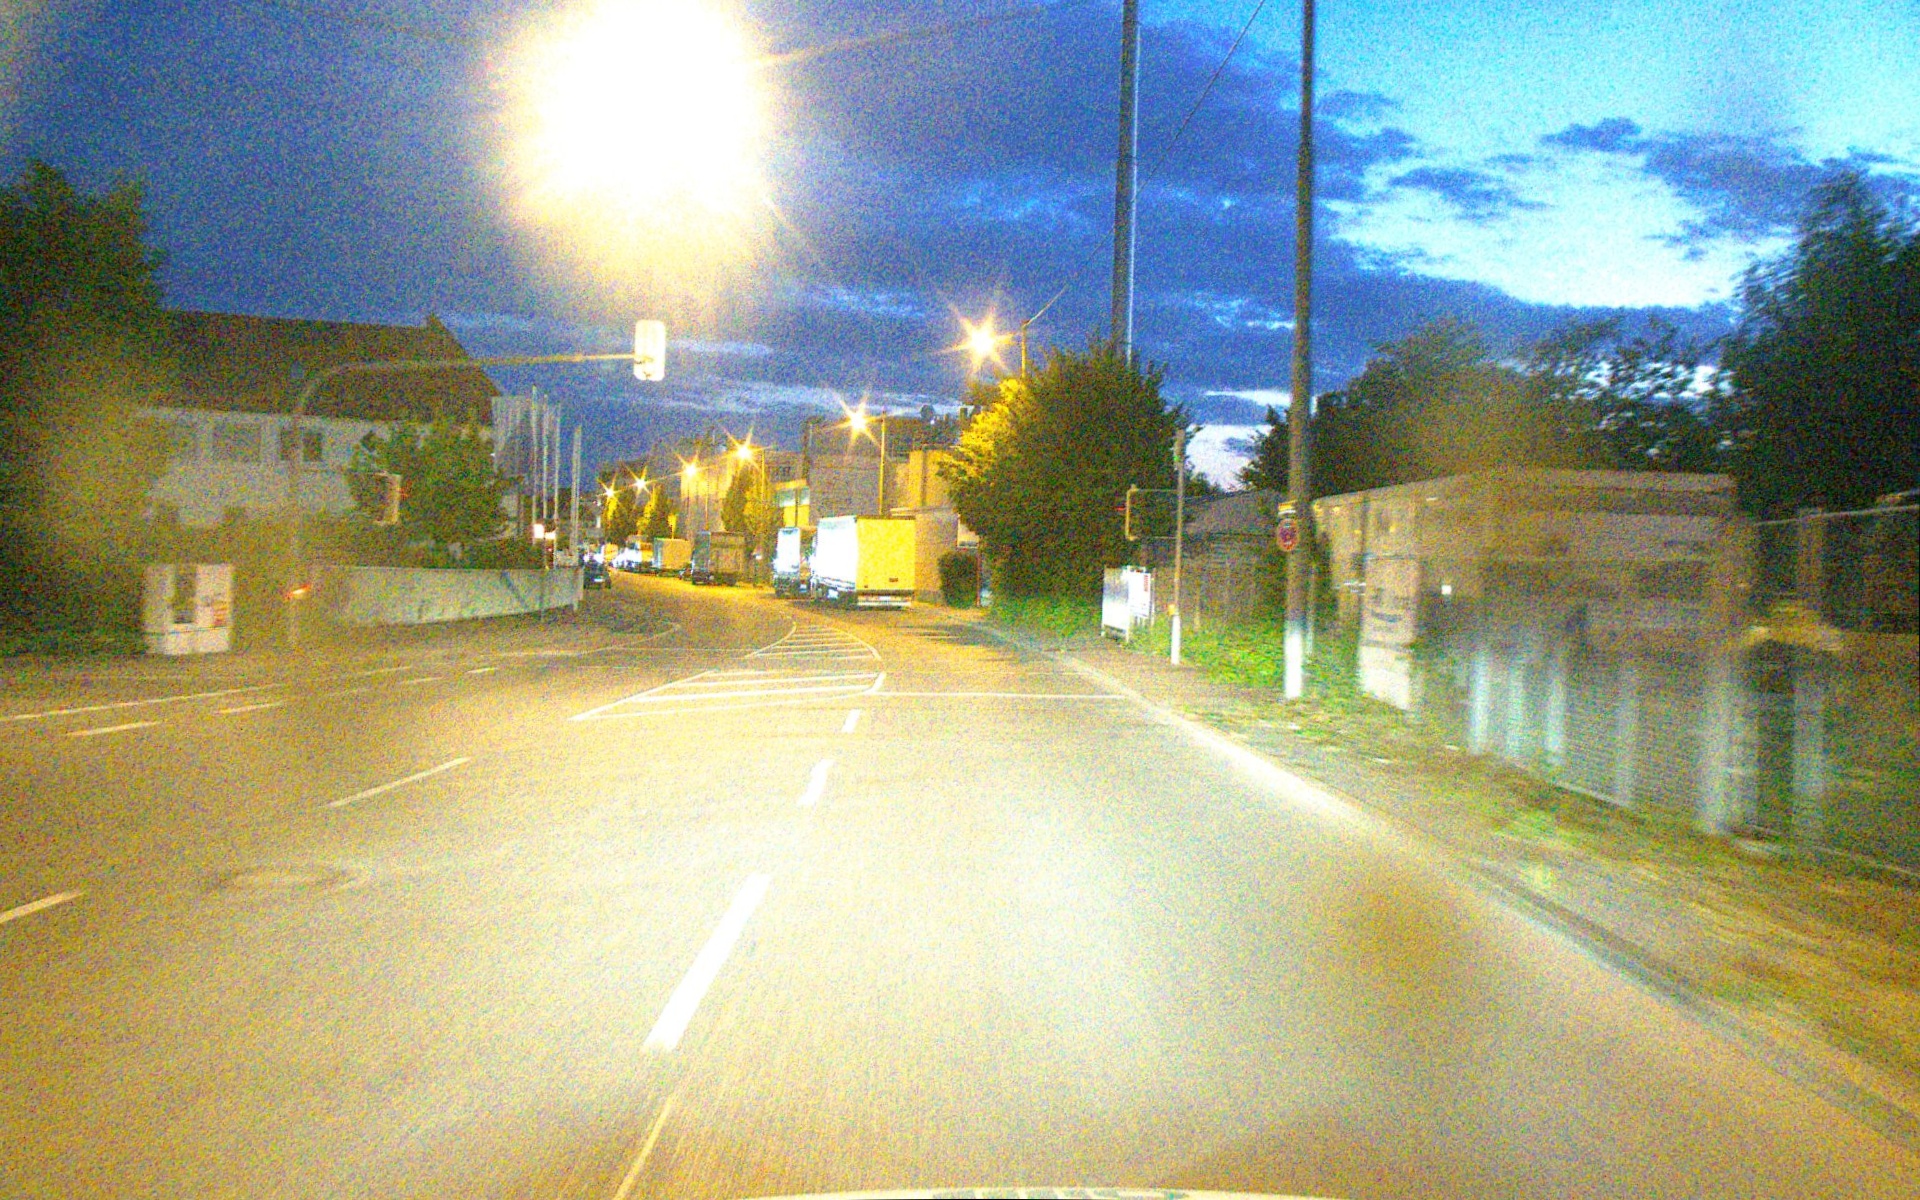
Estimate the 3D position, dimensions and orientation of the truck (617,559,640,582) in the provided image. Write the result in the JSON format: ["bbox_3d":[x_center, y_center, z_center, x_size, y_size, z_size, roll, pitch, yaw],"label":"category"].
[{"bbox_3d":[-37.341,-3.346,186.091,1.962,2.449,5.268,2,1,-17],"label":"truck"}]

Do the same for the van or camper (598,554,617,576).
[{"bbox_3d":[-44.031,-4.375,206.687,1.961,2.626,4.893,2,1,-16],"label":"van or camper"}]

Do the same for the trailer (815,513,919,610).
[{"bbox_3d":[-4.474,-1.721,76.143,2.759,4.052,13.934,0,1,-12],"label":"trailer"}]

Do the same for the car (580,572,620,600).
[{"bbox_3d":[-22.807,-0.882,104.671,1.963,1.665,4.749,2,0,-18],"label":"car"}]

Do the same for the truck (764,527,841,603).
[{"bbox_3d":[-8.958,-1.928,93.063,2.782,4.052,10.304,0,1,-14],"label":"truck"}]

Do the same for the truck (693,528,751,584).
[{"bbox_3d":[-18.095,-3.286,125.093,3.460,4.052,10.307,0,1,-13],"label":"truck"}]

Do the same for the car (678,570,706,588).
[{"bbox_3d":[-22.657,-1.772,139.820,1.823,1.545,3.801,0,1,-17],"label":"car"}]

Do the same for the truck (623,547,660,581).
[{"bbox_3d":[-33.662,-3.783,174.544,3.101,3.523,6.642,0,1,-17],"label":"truck"}]

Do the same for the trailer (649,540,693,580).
[{"bbox_3d":[-26.675,-3.640,152.261,2.647,3.525,7.765,2,0,-19],"label":"trailer"}]

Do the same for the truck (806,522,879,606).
[{"bbox_3d":[-5.976,-1.794,83.115,2.781,4.052,6.030,0,1,-13],"label":"truck"}]

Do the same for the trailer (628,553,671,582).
[{"bbox_3d":[-31.588,-3.291,167.752,3.134,2.797,10.665,0,1,-17],"label":"trailer"}]

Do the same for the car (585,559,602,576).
[{"bbox_3d":[-50.114,-4.443,226.021,1.962,2.183,3.982,2,1,-17],"label":"car"}]

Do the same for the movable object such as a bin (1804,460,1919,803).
[{"bbox_3d":[7.524,0.246,12.156,1.650,2.425,1.612,2,0,-12],"label":"movable object such as a bin"}]
